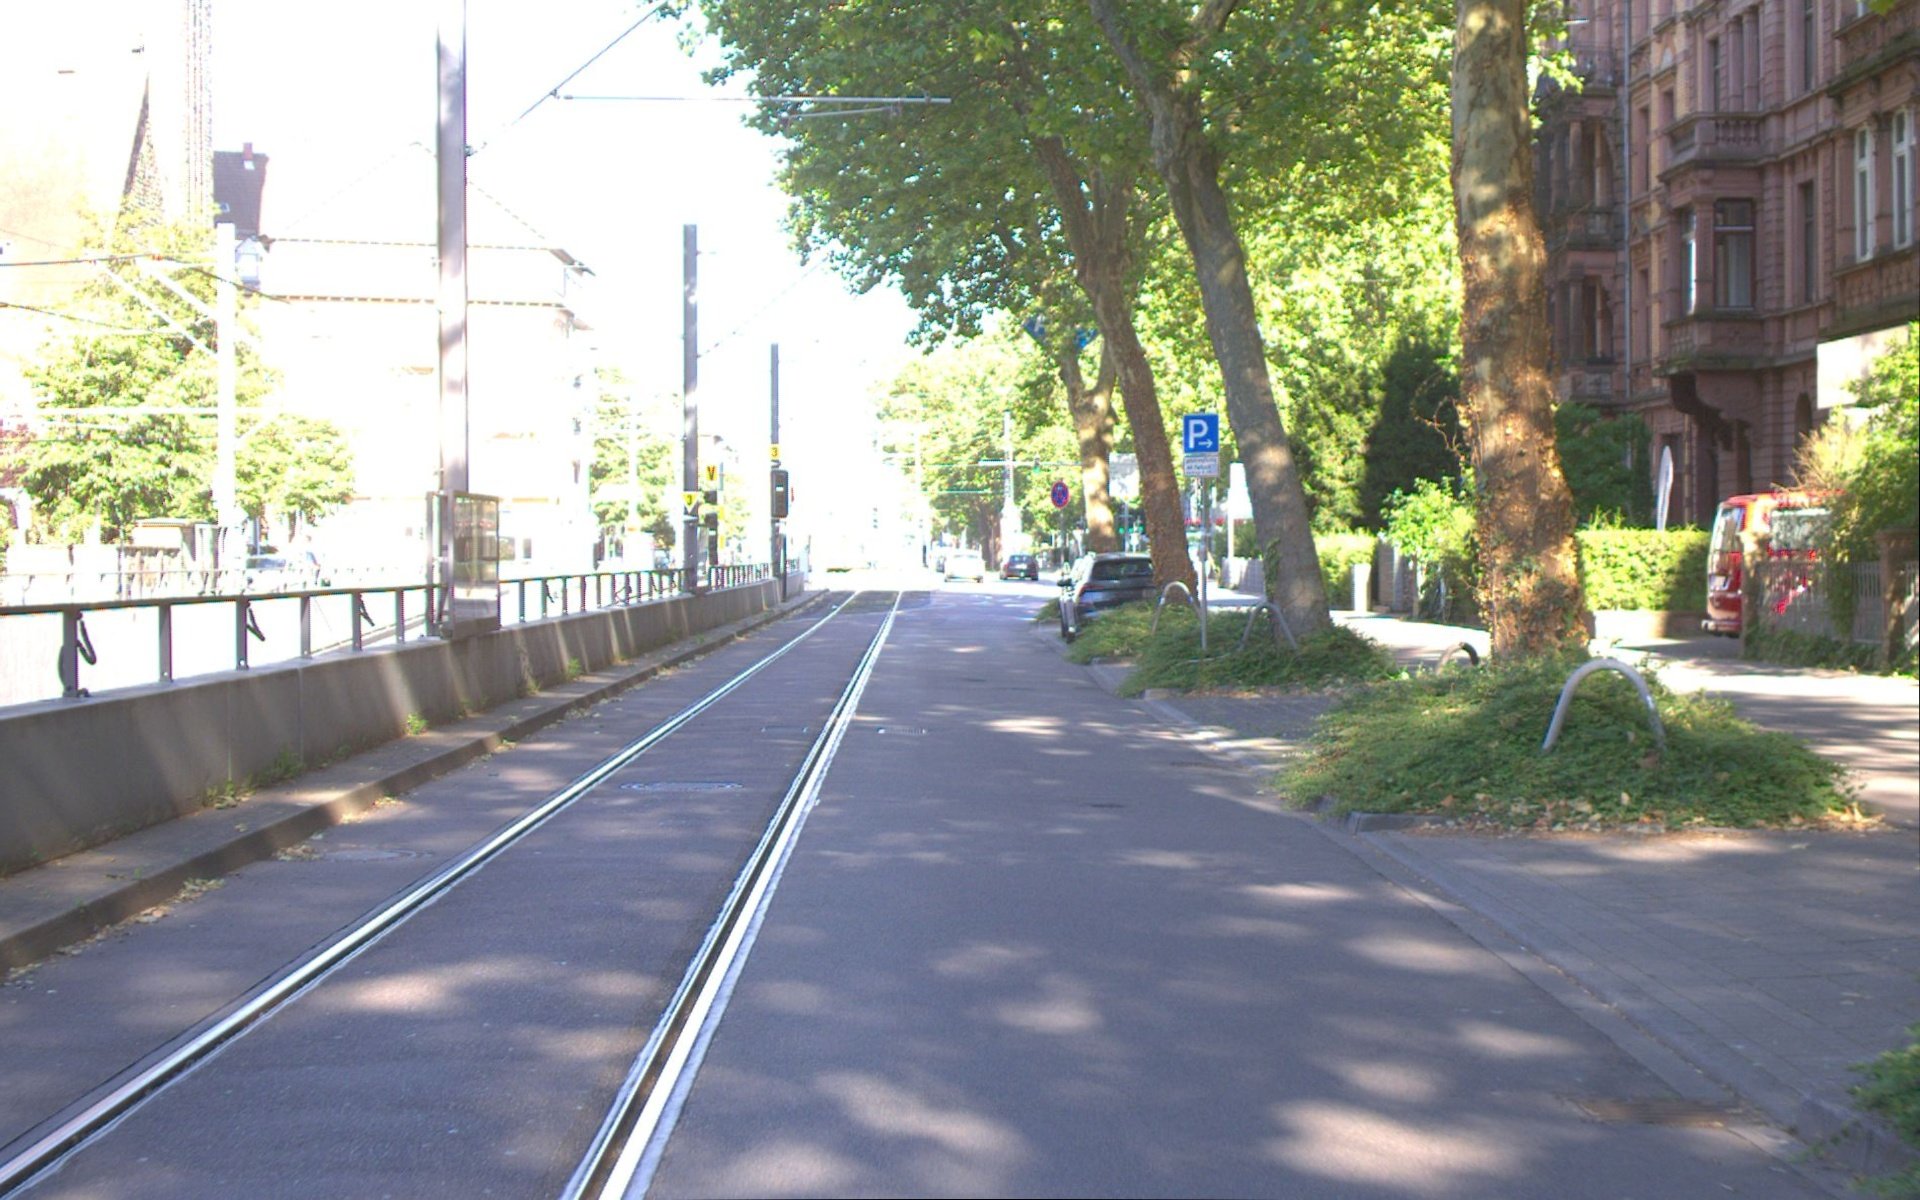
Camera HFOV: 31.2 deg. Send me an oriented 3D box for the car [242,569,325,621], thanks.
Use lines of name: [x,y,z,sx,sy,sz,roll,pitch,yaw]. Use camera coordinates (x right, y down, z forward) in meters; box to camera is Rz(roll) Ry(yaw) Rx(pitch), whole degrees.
car: [-22.237,-0.187,113.125,1.716,1.550,4.510,2,1,1]

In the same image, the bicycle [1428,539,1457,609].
bicycle: [8.813,-0.481,62.876,0.337,1.245,1.766,2,1,3]

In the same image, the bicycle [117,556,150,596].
bicycle: [-22.382,-0.647,93.118,0.485,1.019,1.894,2,1,-24]

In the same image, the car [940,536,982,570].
car: [0.041,-2.127,154.692,1.745,1.457,3.645,2,1,-1]

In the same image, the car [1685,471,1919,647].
car: [11.277,-0.554,42.323,4.175,2.007,2.000,-3,1,-2]

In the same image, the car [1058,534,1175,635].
car: [2.560,-0.276,57.005,1.616,1.581,4.417,-1,1,-1]
